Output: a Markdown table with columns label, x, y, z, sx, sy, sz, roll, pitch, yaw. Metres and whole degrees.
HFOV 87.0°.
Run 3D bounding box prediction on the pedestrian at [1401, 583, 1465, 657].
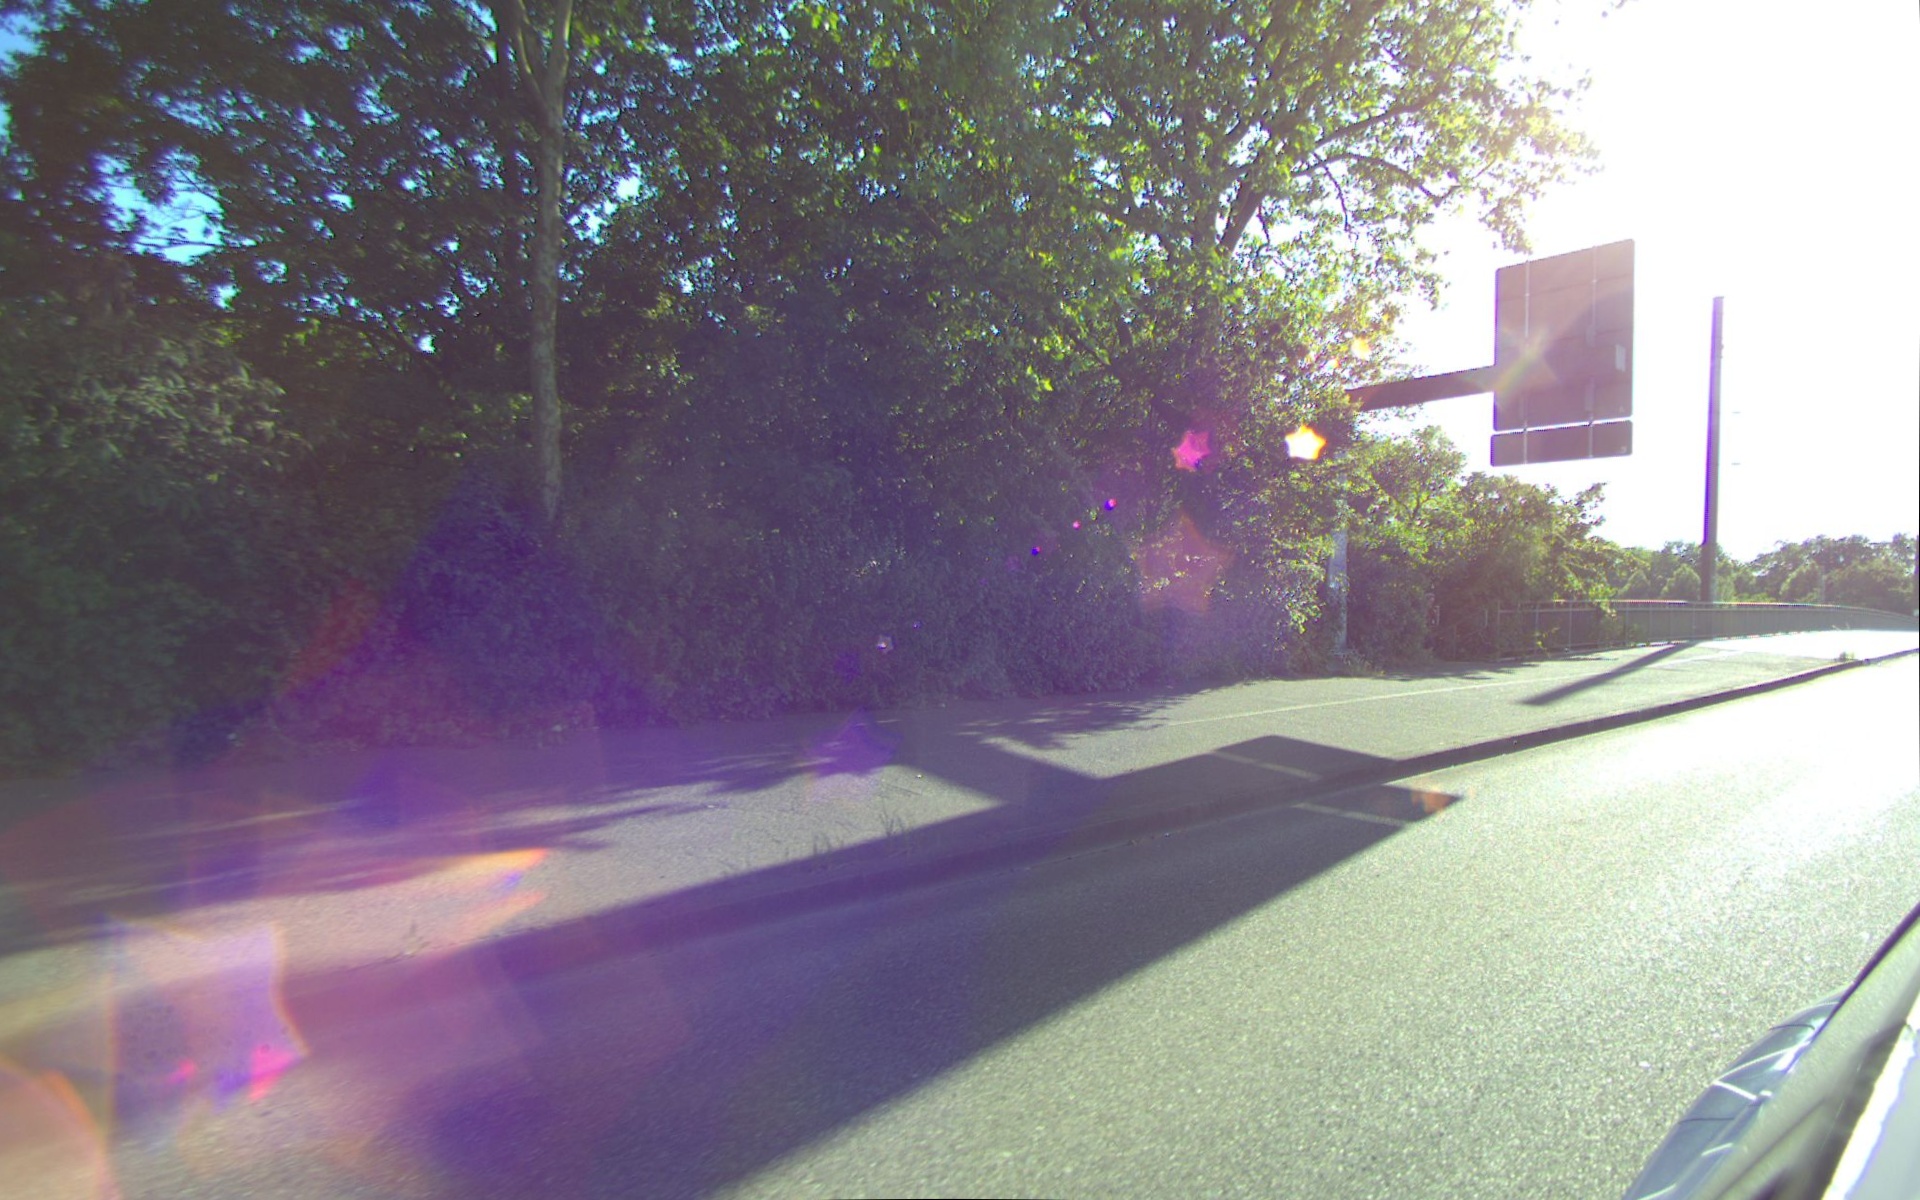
| label | x | y | z | sx | sy | sz | roll | pitch | yaw |
| --- | --- | --- | --- | --- | --- | --- | --- | --- | --- |
| pedestrian | 9.368 | 0.388 | 20.054 | 0.790 | 1.413 | 0.815 | 1 | 1 | -27 |

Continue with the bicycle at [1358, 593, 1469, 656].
| label | x | y | z | sx | sy | sz | roll | pitch | yaw |
| --- | --- | --- | --- | --- | --- | --- | --- | --- | --- |
| bicycle | 8.972 | 0.450 | 20.105 | 0.614 | 1.136 | 2.045 | 1 | 1 | -28 |
